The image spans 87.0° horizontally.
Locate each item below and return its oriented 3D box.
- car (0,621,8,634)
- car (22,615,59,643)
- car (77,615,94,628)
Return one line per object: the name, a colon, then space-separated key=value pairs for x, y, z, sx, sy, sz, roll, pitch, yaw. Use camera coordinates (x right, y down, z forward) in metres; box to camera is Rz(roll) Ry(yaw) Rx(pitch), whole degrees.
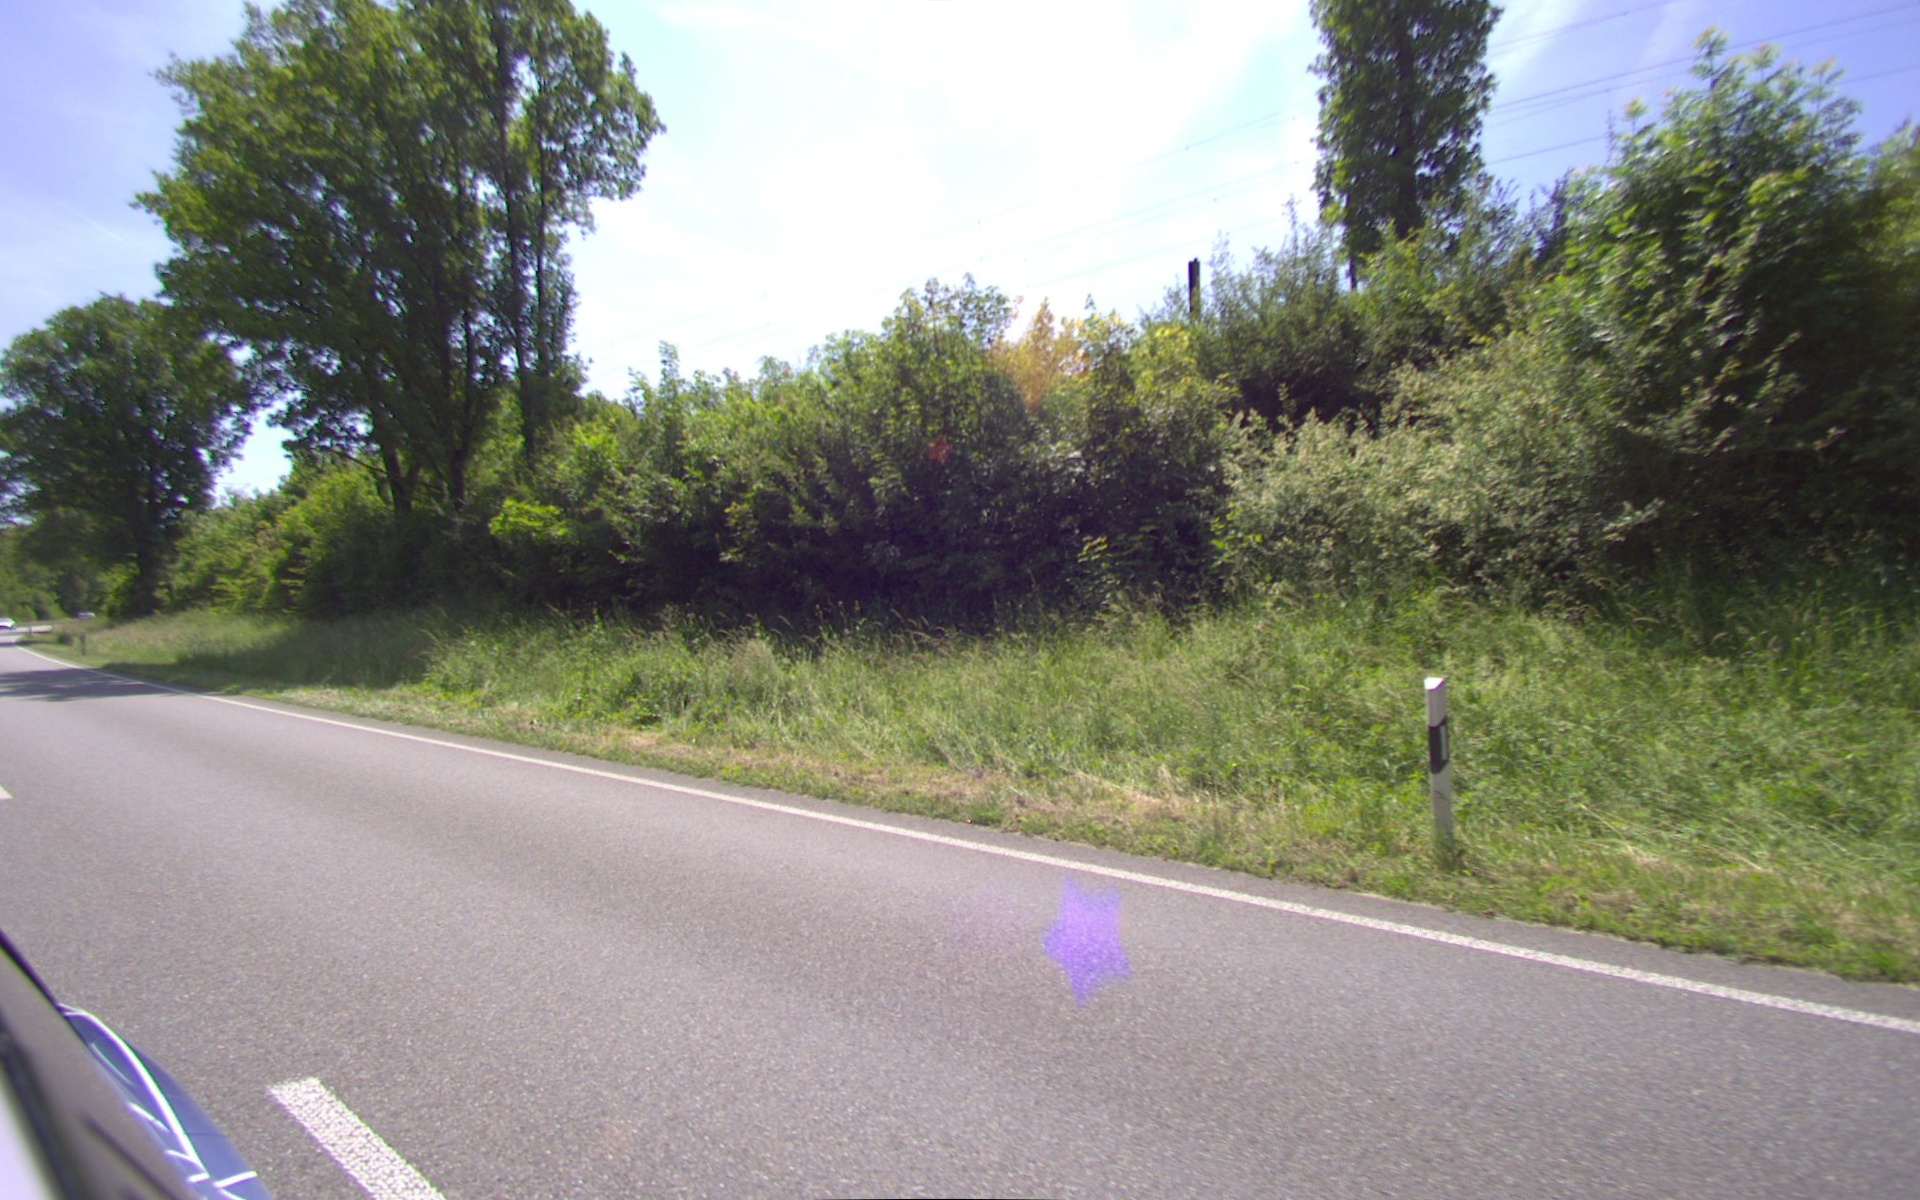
car: x=-123.344 y=3.521 z=129.658 sx=1.784 sy=1.601 sz=4.007 roll=-1 pitch=-1 yaw=-39
car: x=-69.141 y=2.176 z=76.079 sx=1.970 sy=2.029 sz=4.004 roll=-1 pitch=-1 yaw=-43
car: x=-139.718 y=3.503 z=161.733 sx=1.969 sy=2.029 sz=4.006 roll=-1 pitch=-1 yaw=-40
